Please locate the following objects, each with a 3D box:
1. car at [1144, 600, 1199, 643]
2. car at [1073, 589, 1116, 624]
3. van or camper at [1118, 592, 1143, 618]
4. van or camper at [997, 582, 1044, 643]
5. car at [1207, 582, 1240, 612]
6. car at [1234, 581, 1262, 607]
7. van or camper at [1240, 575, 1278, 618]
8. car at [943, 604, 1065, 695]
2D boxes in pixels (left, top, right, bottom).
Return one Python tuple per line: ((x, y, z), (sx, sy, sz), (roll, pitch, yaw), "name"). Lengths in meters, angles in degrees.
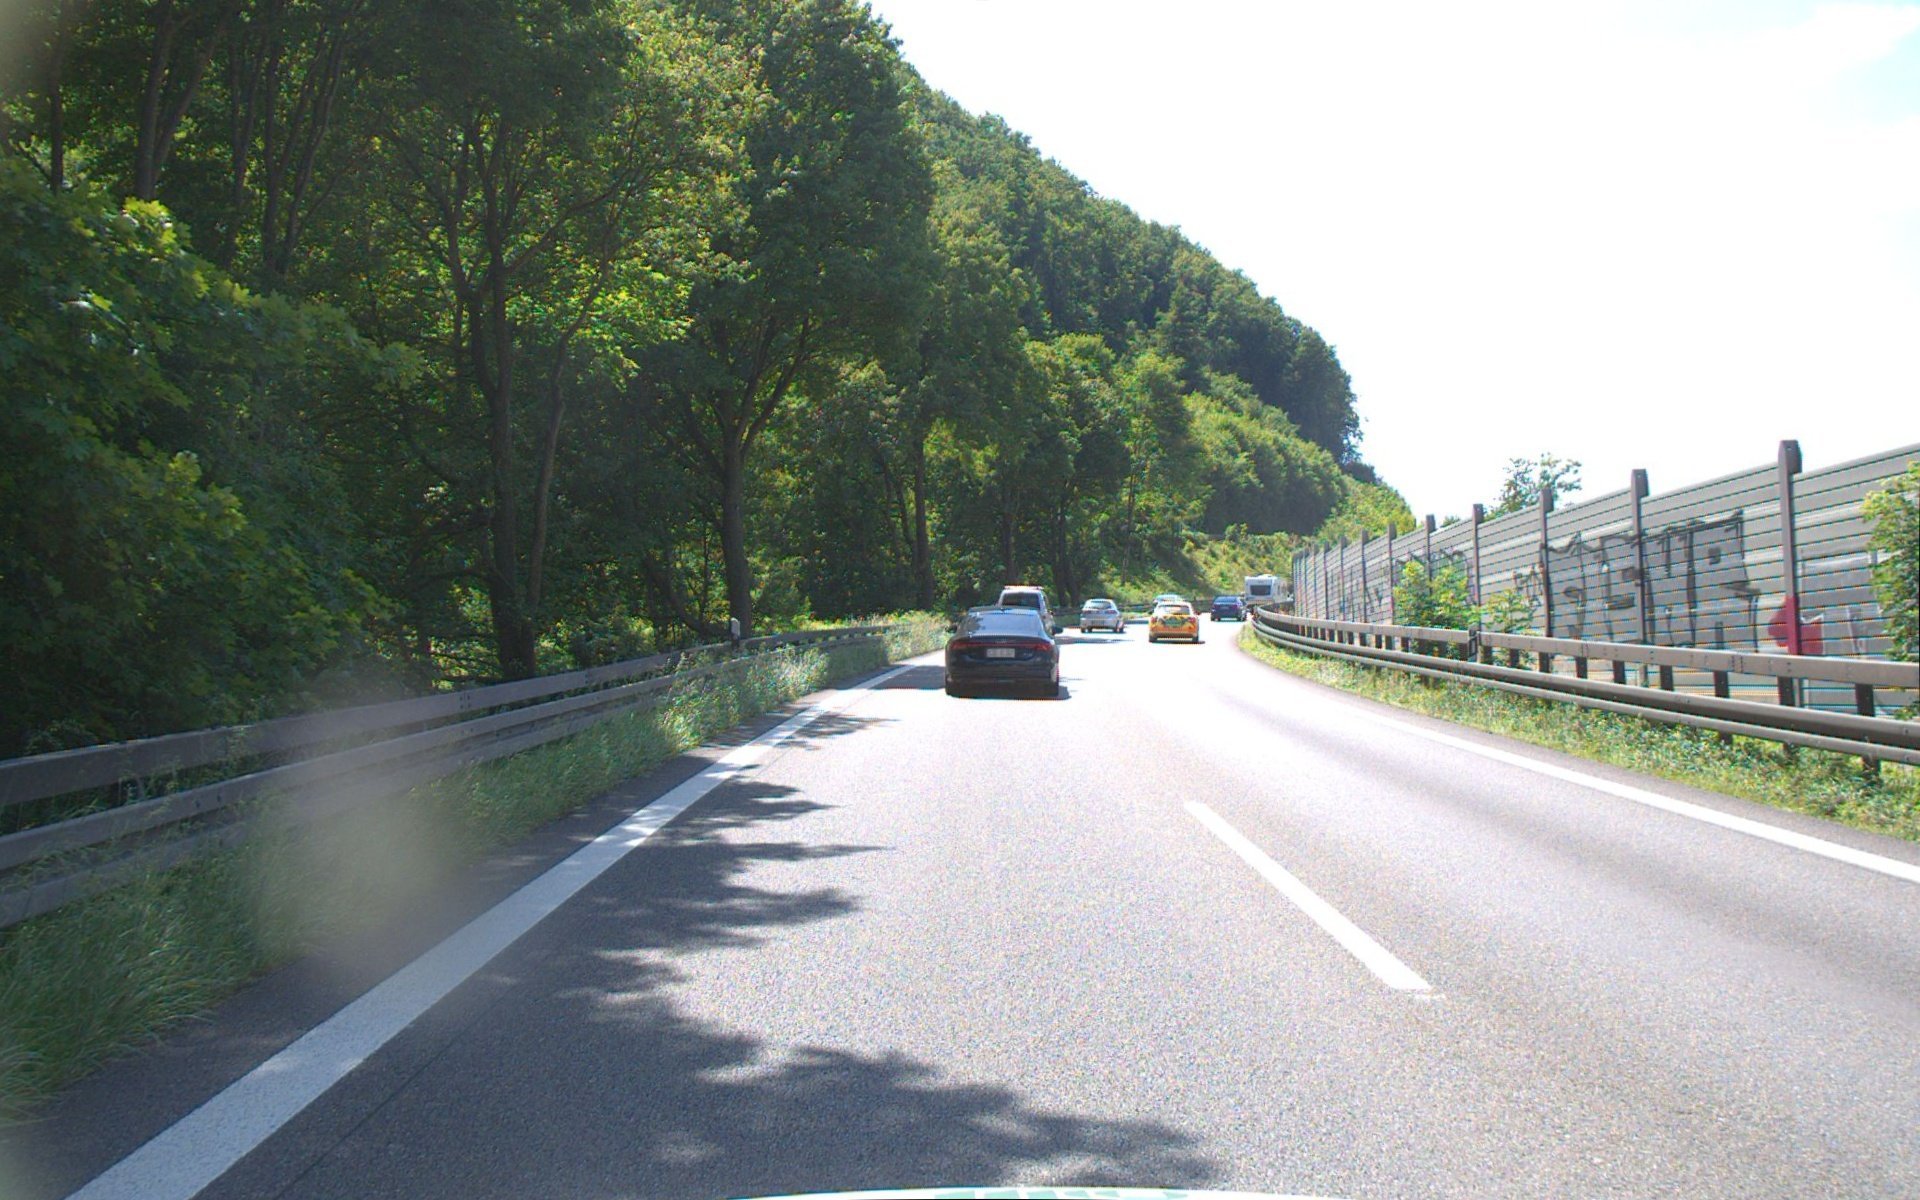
((7.743, 0.769, 60.258), (1.823, 1.514, 4.003), (-1, -1, 10), "car")
((5.895, 0.300, 72.188), (1.710, 1.456, 4.003), (-1, -1, 7), "car")
((10.839, 0.329, 105.005), (1.524, 1.561, 3.507), (-1, -1, 6), "van or camper")
((1.952, 0.396, 52.706), (1.362, 1.847, 4.002), (-1, -1, 4), "van or camper")
((15.832, -0.176, 99.337), (1.735, 1.665, 4.004), (-3, 0, 12), "car")
((23.154, -0.438, 132.999), (1.951, 2.049, 4.003), (-1, -1, 14), "car")
((21.379, -0.230, 118.008), (2.403, 2.969, 6.131), (-1, -1, 12), "van or camper")
((0.670, 0.792, 27.702), (1.800, 1.373, 3.998), (1, -1, -2), "car")
